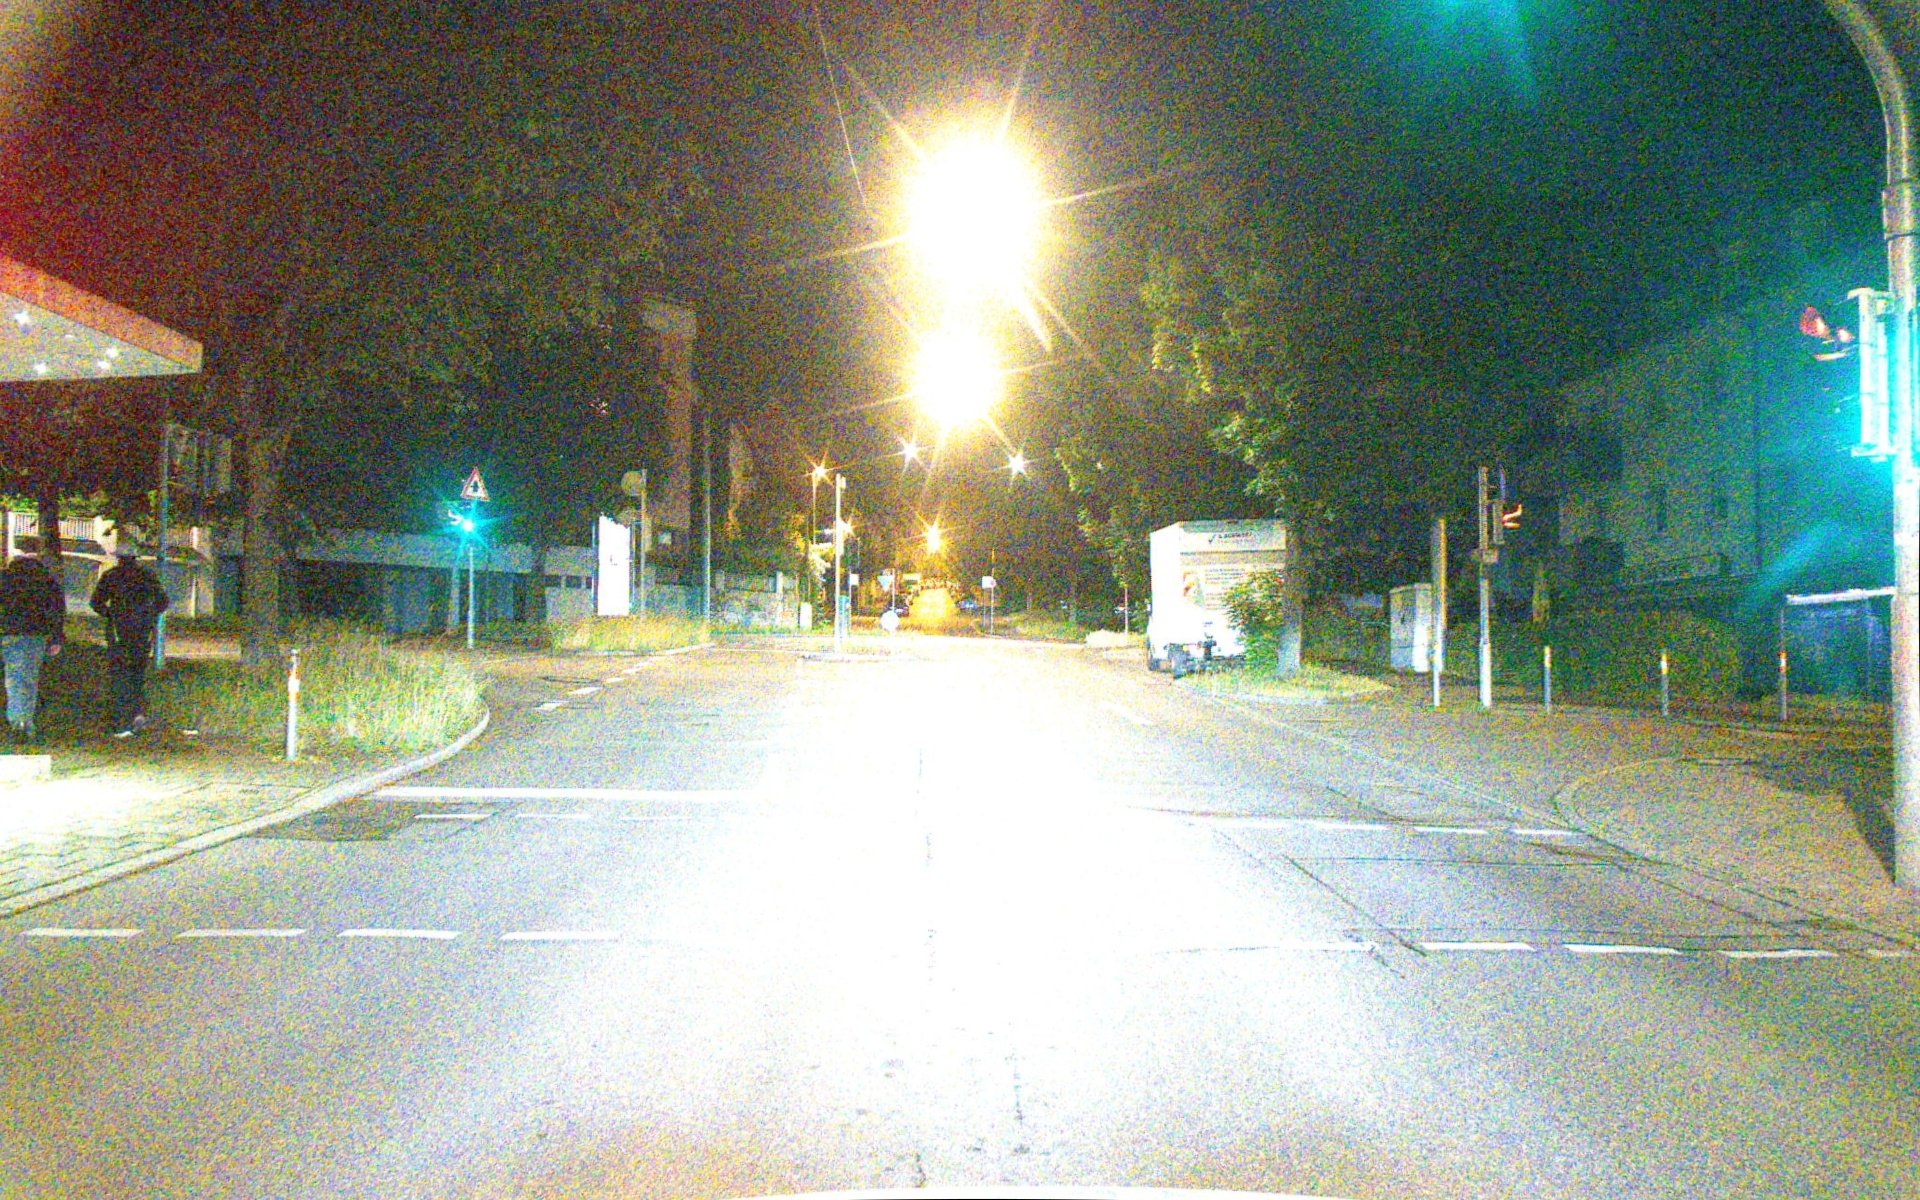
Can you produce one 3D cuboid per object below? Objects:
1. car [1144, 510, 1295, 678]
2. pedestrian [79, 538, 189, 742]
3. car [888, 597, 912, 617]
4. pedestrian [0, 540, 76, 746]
[{"bbox_3d":[5.252,-0.110,34.338,2.249,3.147,5.840,-1,0,1],"label":"car"},{"bbox_3d":[-7.616,0.361,15.276,0.558,1.808,0.737,3,-1,-1],"label":"pedestrian"},{"bbox_3d":[-4.840,0.546,134.327,1.869,1.585,3.903,1,0,-1],"label":"car"},{"bbox_3d":[-8.172,0.368,14.460,0.558,1.761,0.543,1,-1,-1],"label":"pedestrian"}]
